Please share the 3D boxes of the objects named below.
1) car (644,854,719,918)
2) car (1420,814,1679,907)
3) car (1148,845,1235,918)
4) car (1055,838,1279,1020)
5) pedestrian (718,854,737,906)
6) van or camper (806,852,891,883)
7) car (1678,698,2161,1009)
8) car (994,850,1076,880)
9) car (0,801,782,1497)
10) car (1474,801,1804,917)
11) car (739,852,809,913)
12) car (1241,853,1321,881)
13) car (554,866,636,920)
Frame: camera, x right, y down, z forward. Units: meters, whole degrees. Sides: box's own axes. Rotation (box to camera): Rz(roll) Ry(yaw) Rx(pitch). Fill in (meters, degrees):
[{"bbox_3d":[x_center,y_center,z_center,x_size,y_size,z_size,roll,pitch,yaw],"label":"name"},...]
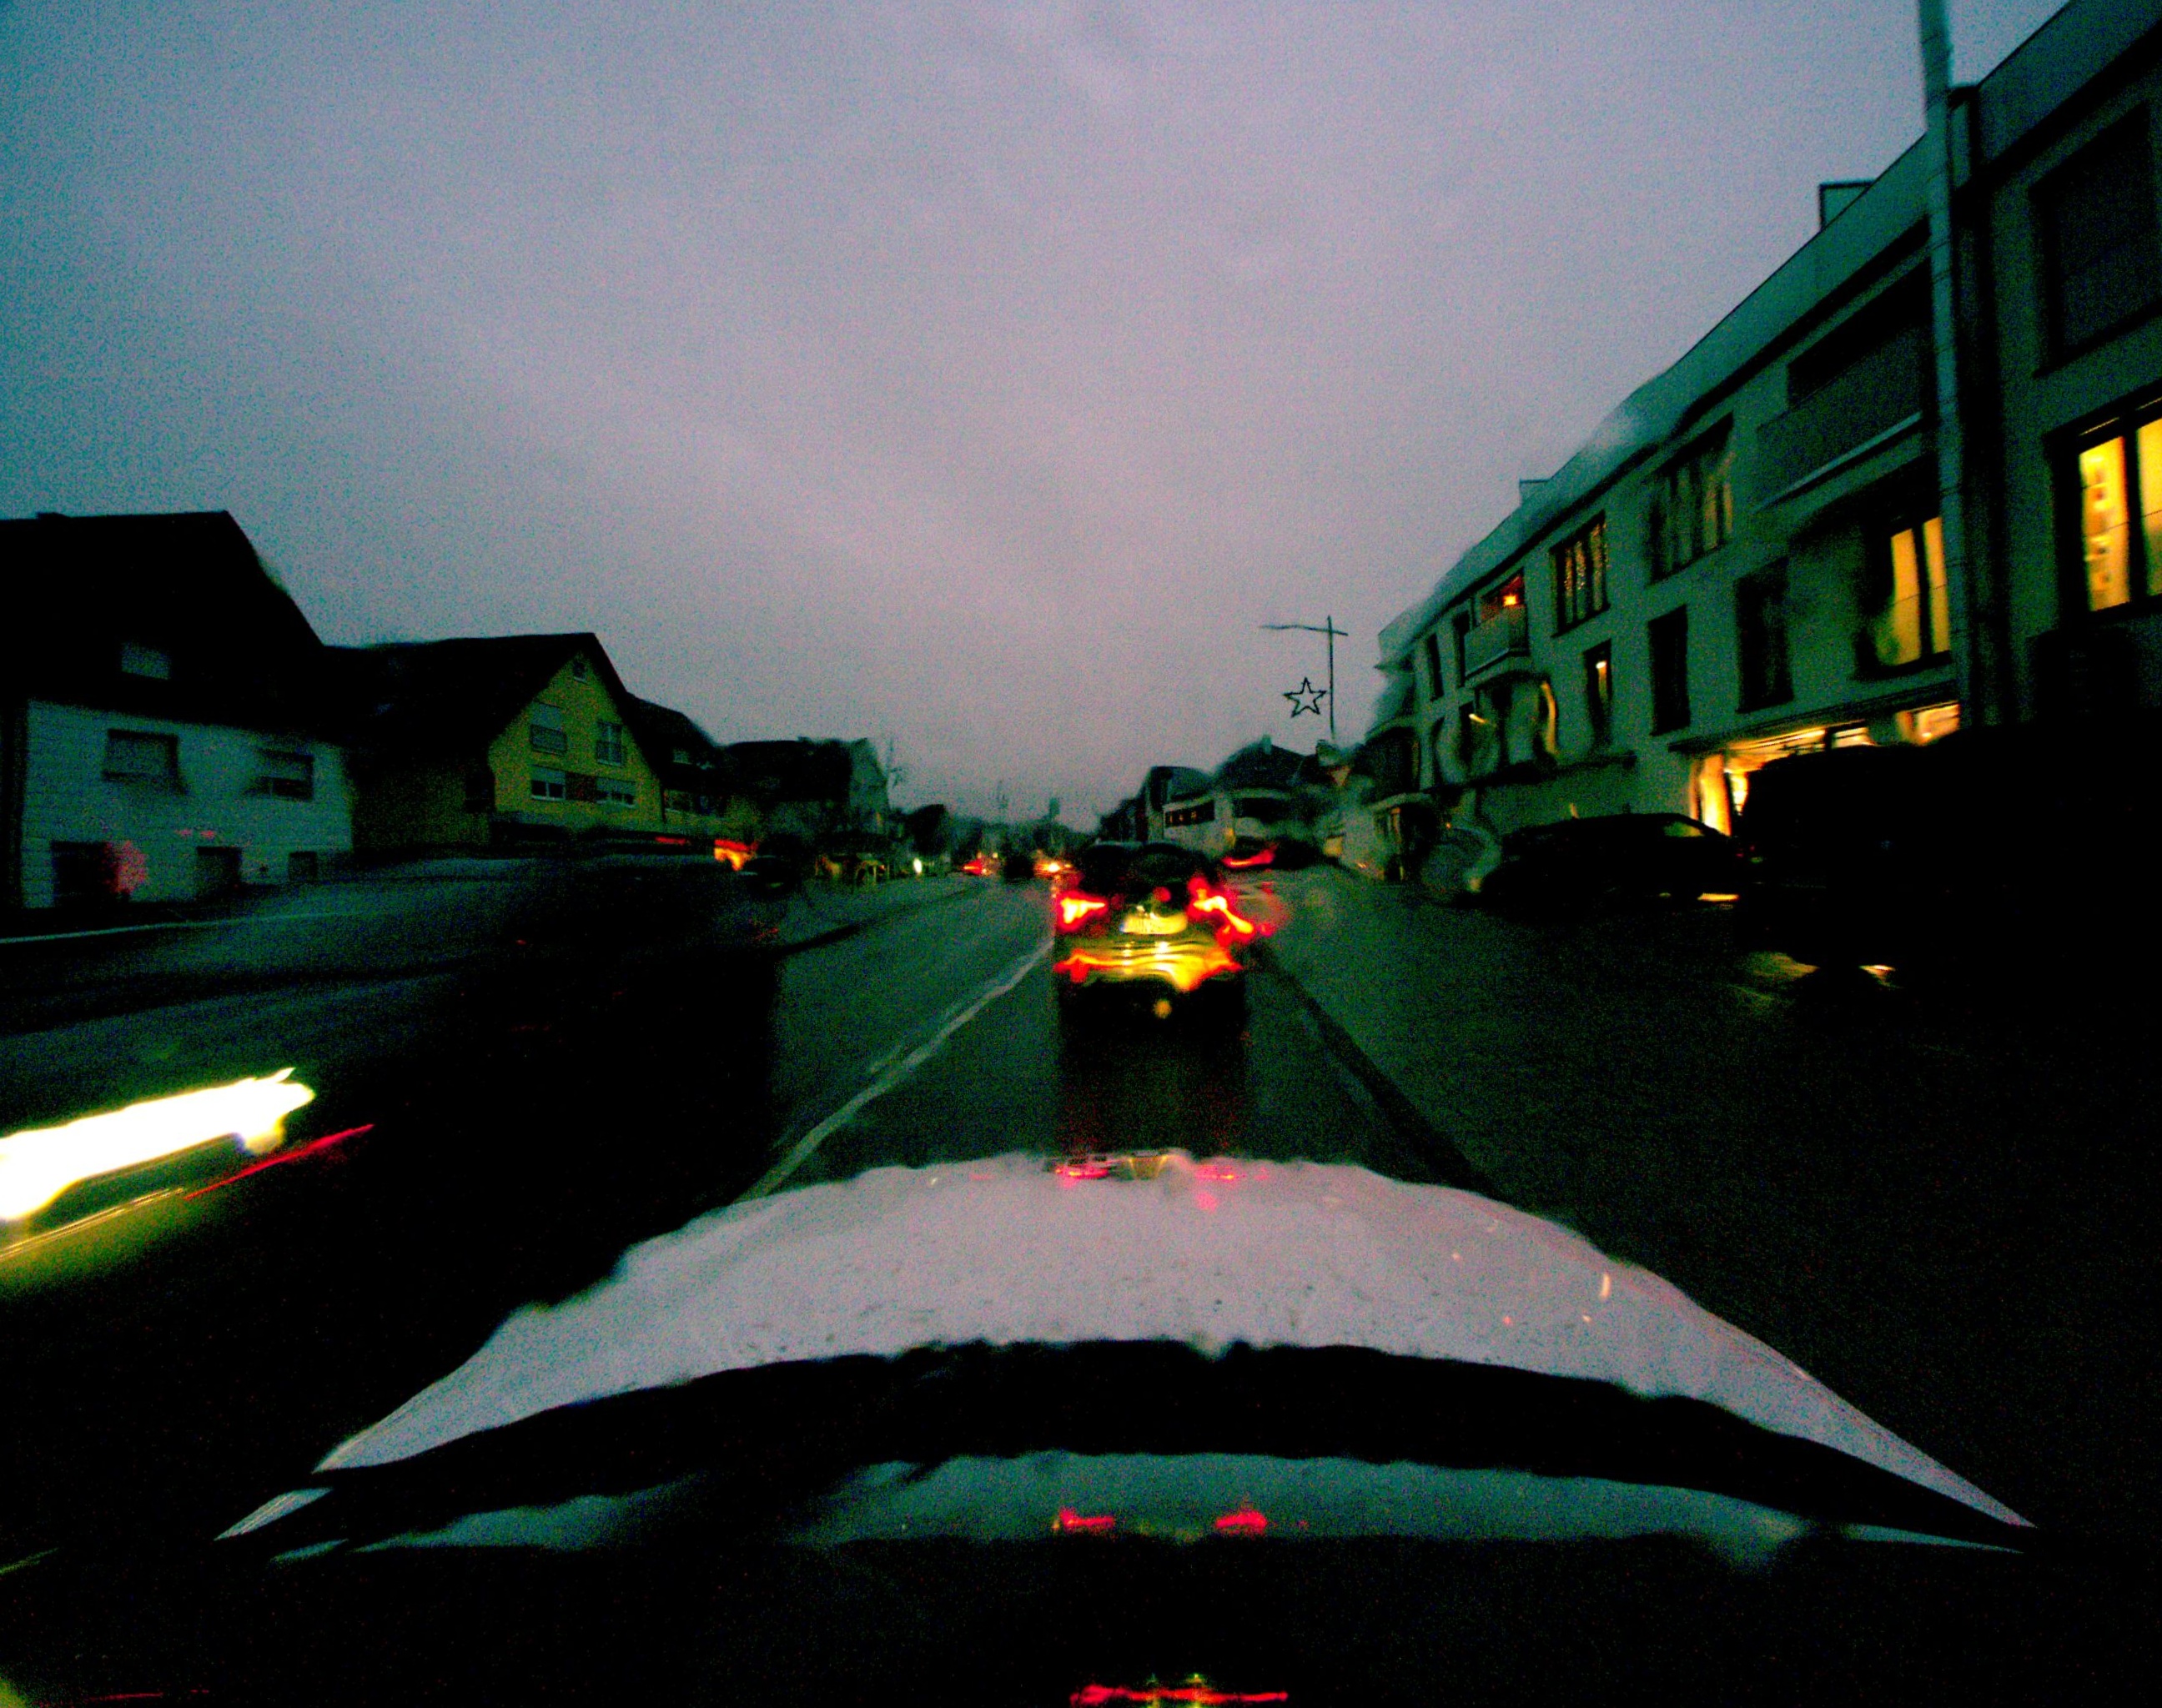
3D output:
[{"bbox_3d":[-13.491,1.021,27.718,2.047,1.925,4.025,-2,0,-24],"label":"car"},{"bbox_3d":[9.375,0.130,16.518,4.195,1.460,1.791,-4,-1,-3],"label":"car"},{"bbox_3d":[2.365,0.549,18.269,1.675,1.453,4.004,-1,0,4],"label":"car"},{"bbox_3d":[0.905,0.652,9.327,1.956,1.594,4.318,0,0,4],"label":"car"},{"bbox_3d":[-11.805,0.867,27.218,0.498,1.701,0.707,-3,0,-24],"label":"pedestrian"},{"bbox_3d":[-16.384,0.955,57.418,5.487,1.954,2.009,-2,0,16],"label":"van or camper"},{"bbox_3d":[7.924,-0.143,6.580,4.546,1.920,1.950,-7,-1,2],"label":"car"},{"bbox_3d":[-2.542,0.621,44.919,3.951,1.418,2.012,-3,1,24],"label":"car"},{"bbox_3d":[-3.122,0.724,3.951,1.731,1.653,4.001,-2,0,1],"label":"car"},{"bbox_3d":[9.028,0.076,13.406,4.195,1.460,1.791,-4,-1,-3],"label":"car"},{"bbox_3d":[-10.862,0.946,28.644,2.047,1.925,4.025,-2,0,-24],"label":"car"},{"bbox_3d":[11.266,0.763,45.943,3.998,1.479,1.987,1,-2,-19],"label":"car"},{"bbox_3d":[-16.396,1.244,27.656,1.830,1.613,4.025,-2,0,-24],"label":"car"}]
